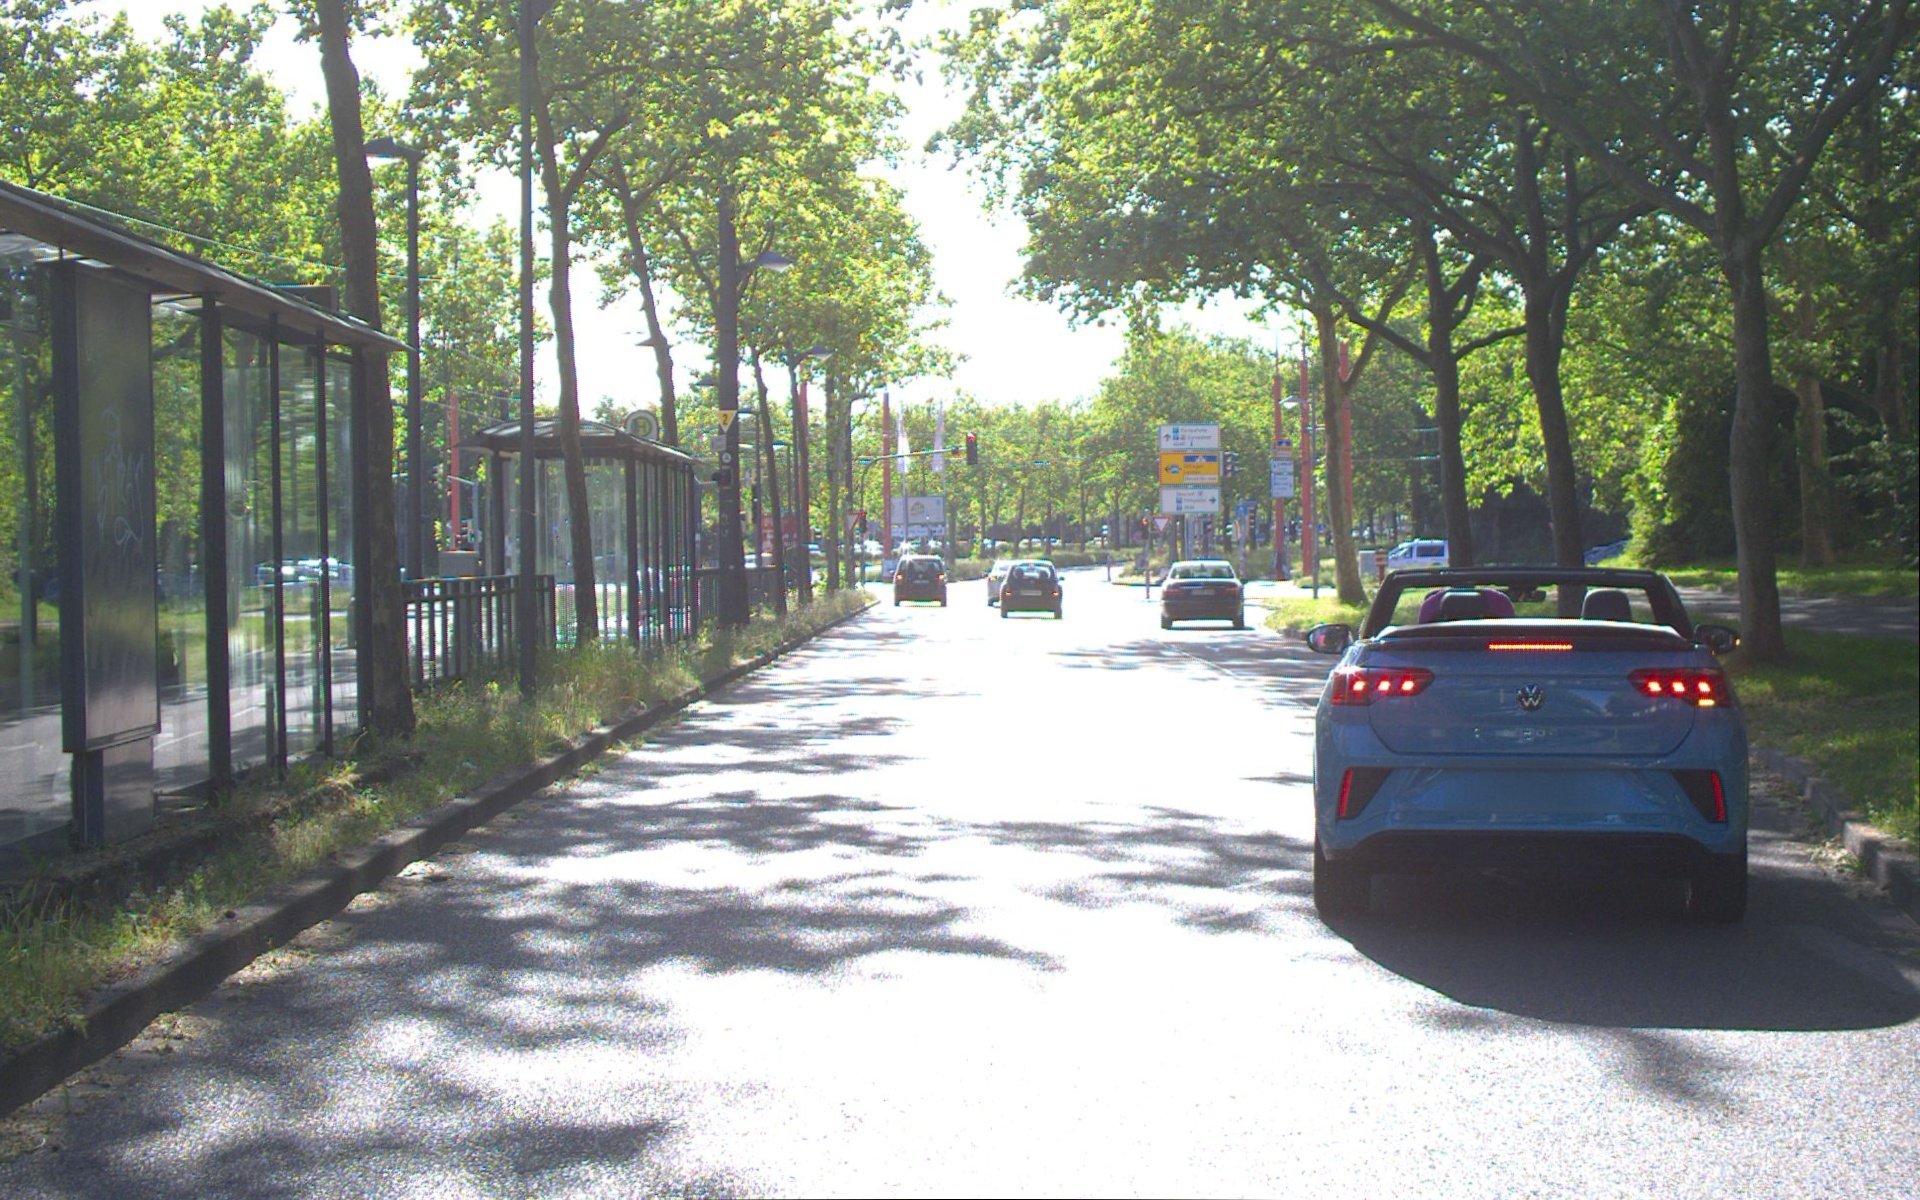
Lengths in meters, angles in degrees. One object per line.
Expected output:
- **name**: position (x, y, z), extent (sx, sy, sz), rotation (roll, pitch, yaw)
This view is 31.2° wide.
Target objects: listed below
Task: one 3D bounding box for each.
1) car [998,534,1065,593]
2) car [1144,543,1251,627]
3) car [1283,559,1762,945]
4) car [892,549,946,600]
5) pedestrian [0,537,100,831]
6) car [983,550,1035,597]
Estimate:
- **car**: position (1.889, -0.985, 91.567), extent (1.639, 1.489, 3.504), rotation (0, 2, -1)
- **car**: position (5.208, -0.345, 76.014), extent (1.981, 1.786, 4.614), rotation (0, 1, -1)
- **car**: position (2.390, 0.568, 15.503), extent (1.776, 1.478, 4.099), rotation (1, 1, 4)
- **car**: position (-1.328, -0.837, 111.334), extent (1.710, 1.598, 3.350), rotation (0, 1, -1)
- **pedestrian**: position (-4.150, 0.353, 14.909), extent (0.733, 1.248, 0.588), rotation (1, 1, -6)
- **car**: position (1.587, -0.870, 112.114), extent (1.678, 1.470, 4.131), rotation (0, 1, 1)
